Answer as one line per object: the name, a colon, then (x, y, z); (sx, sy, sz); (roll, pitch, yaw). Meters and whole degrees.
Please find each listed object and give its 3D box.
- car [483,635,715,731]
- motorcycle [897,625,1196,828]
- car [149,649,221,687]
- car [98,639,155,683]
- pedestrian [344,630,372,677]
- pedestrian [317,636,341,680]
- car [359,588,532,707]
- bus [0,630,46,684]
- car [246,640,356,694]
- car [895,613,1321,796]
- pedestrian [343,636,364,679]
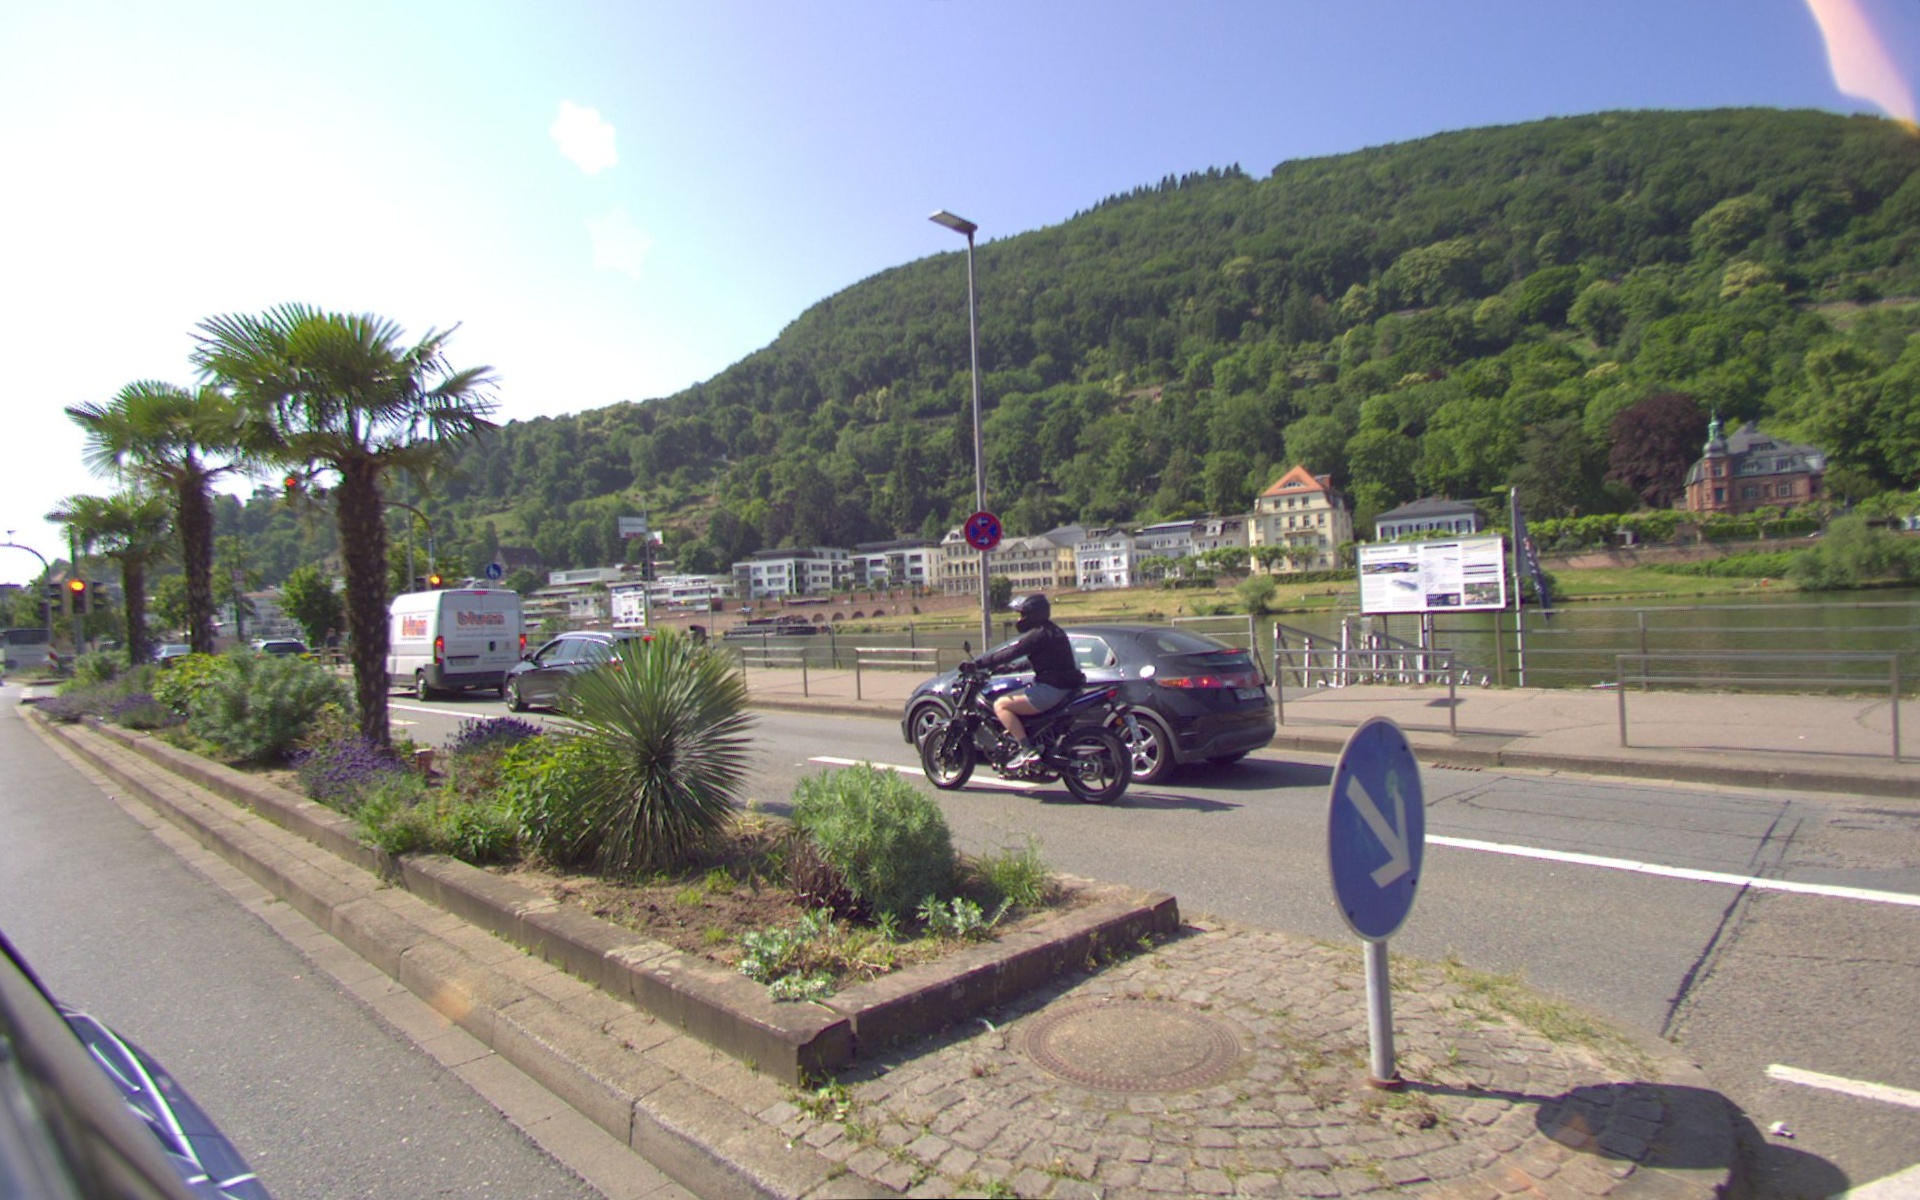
car: (-6.635, 1.418, 18.277); (4.922, 1.429, 1.971); (-3, -1, 44)
motorcycle: (0.607, 0.938, 8.232); (0.718, 1.397, 2.513); (-1, -1, -45)
car: (-34.331, 2.975, 44.775); (1.971, 1.469, 4.646); (-1, -1, -45)
car: (-44.629, 3.224, 54.142); (1.844, 2.166, 5.025); (-2, -1, -45)
pedestrian: (-24.351, 2.153, 40.944); (0.579, 1.870, 0.784); (-3, -2, 41)
pedestrian: (-25.958, 2.385, 41.619); (0.780, 1.765, 0.585); (-3, -2, 41)
car: (-12.277, 1.126, 24.033); (4.749, 2.545, 2.170); (-3, -4, 43)
bus: (-66.181, 3.966, 69.661); (10.771, 3.413, 2.626); (-3, -1, 36)
car: (-21.137, 2.106, 32.382); (4.262, 1.463, 1.972); (-3, 0, 44)
car: (1.316, 0.915, 10.263); (1.638, 1.447, 4.083); (-1, -1, -45)
pedestrian: (-25.363, 2.391, 42.329); (0.503, 1.765, 0.585); (-3, -2, 41)
